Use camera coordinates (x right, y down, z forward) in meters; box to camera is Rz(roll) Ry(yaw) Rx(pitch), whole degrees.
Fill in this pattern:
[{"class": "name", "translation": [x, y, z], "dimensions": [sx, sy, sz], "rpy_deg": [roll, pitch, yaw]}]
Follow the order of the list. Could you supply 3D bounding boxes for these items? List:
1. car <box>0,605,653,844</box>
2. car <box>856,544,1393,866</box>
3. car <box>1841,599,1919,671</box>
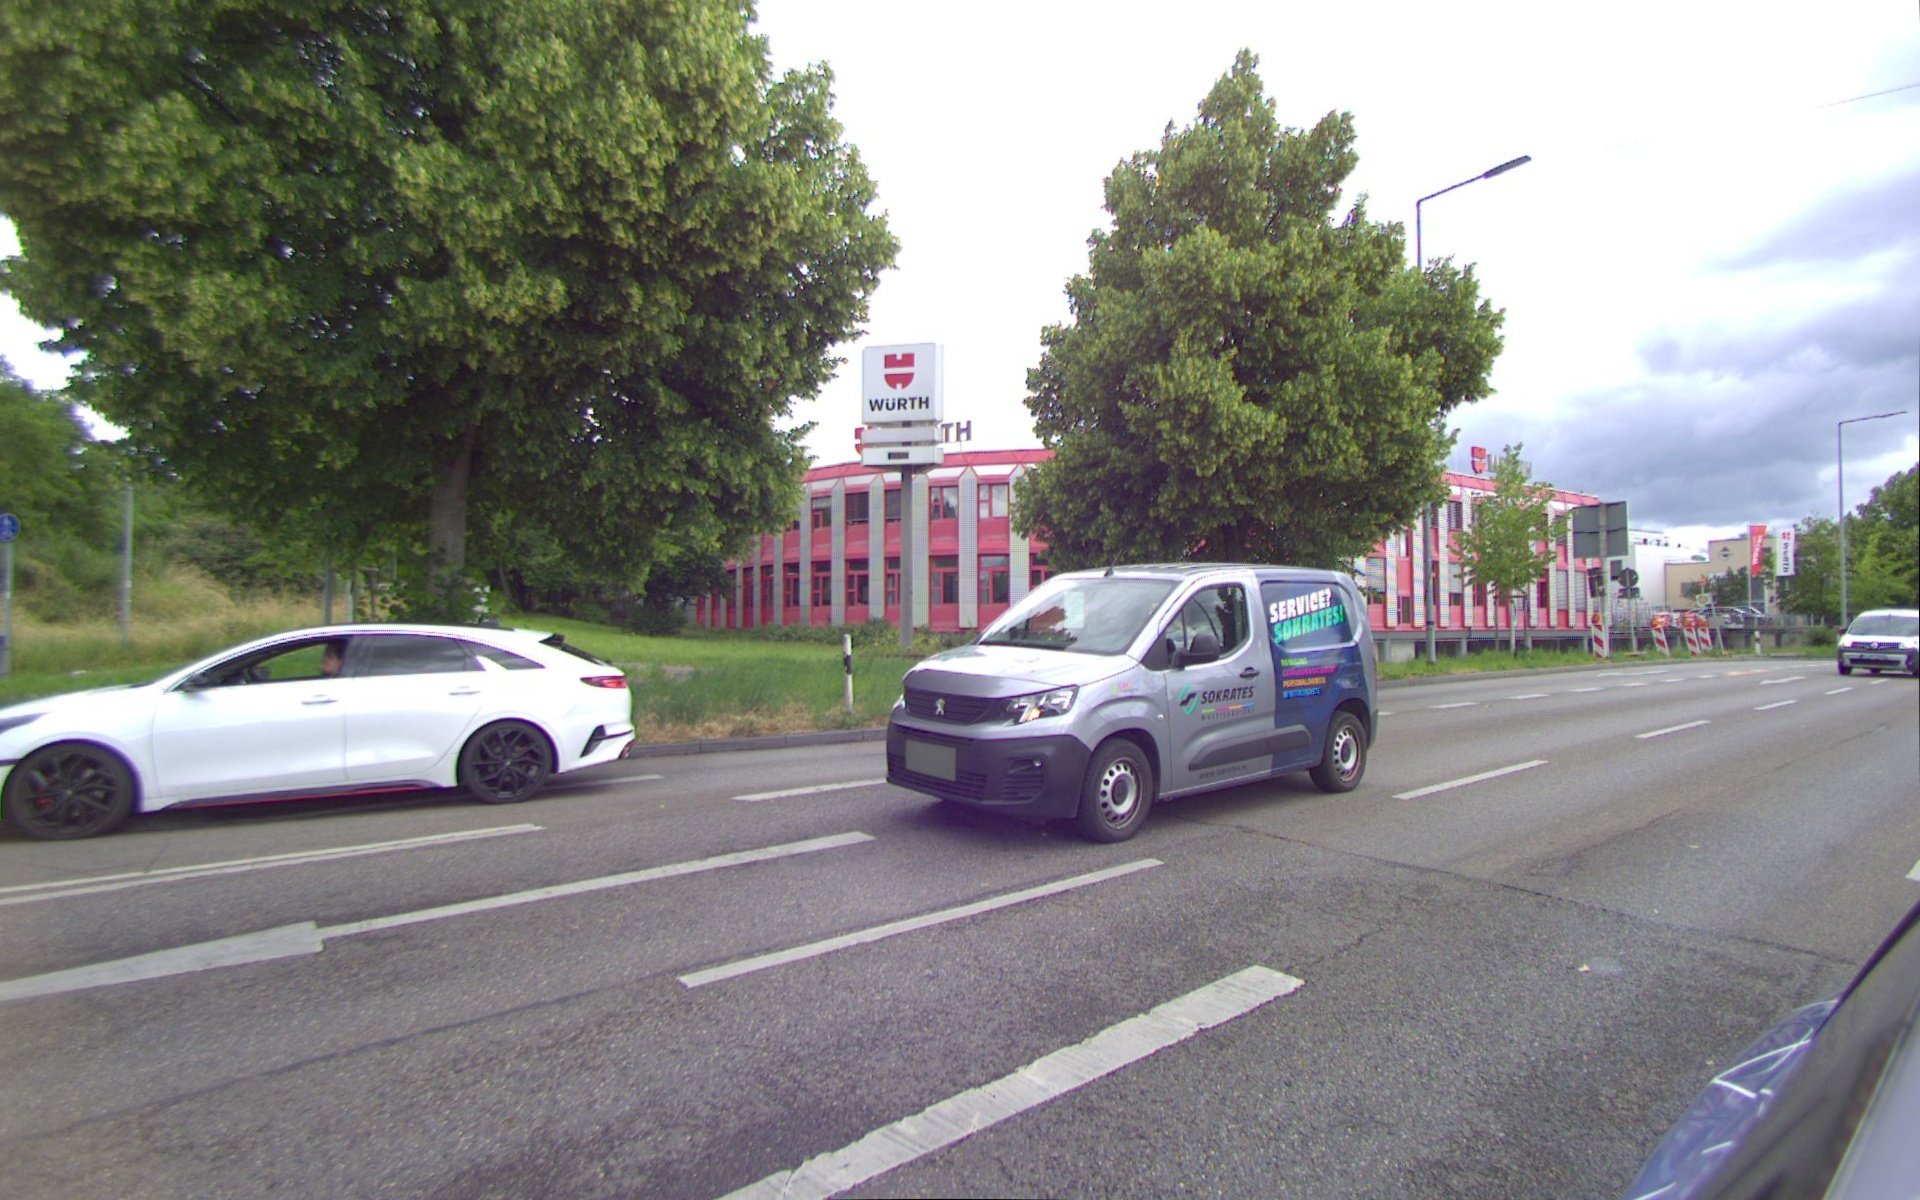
[{"class": "car", "translation": [-4.850, 0.814, 7.957], "dimensions": [4.421, 1.438, 1.838], "rpy_deg": [-1, -2, -26]}, {"class": "car", "translation": [1.430, 0.577, 7.717], "dimensions": [4.148, 1.802, 1.812], "rpy_deg": [0, 0, -41]}, {"class": "car", "translation": [25.826, 0.941, 27.485], "dimensions": [4.607, 1.815, 1.814], "rpy_deg": [1, -1, -35]}]
